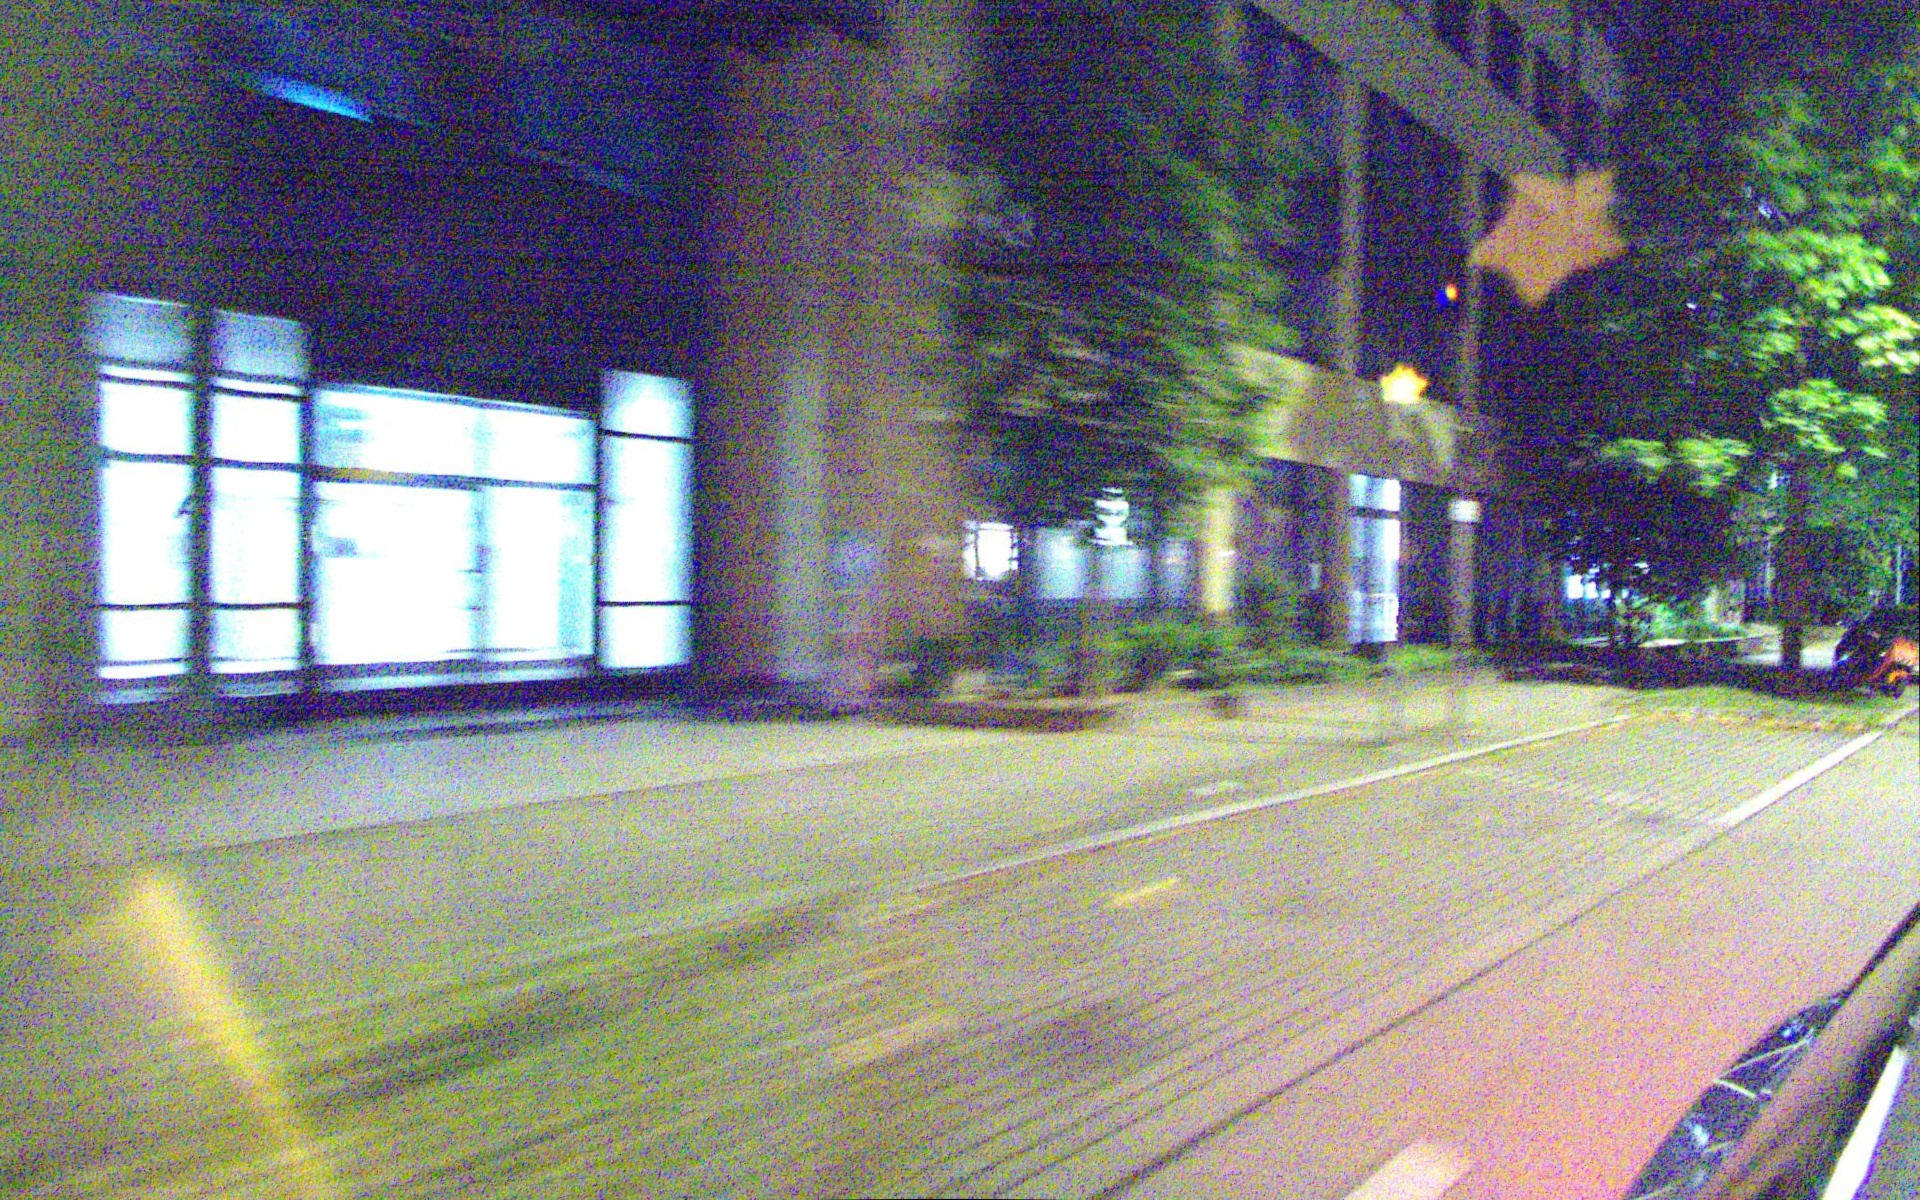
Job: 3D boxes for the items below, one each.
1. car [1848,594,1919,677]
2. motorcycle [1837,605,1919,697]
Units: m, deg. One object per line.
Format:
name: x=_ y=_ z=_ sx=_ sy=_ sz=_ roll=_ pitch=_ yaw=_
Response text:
car: x=18.904 y=0.658 z=19.710 sx=4.072 sy=1.446 sz=1.673 roll=0 pitch=3 yaw=-39
motorcycle: x=14.803 y=0.770 z=15.870 sx=0.919 sy=1.299 sz=2.216 roll=3 pitch=2 yaw=24
